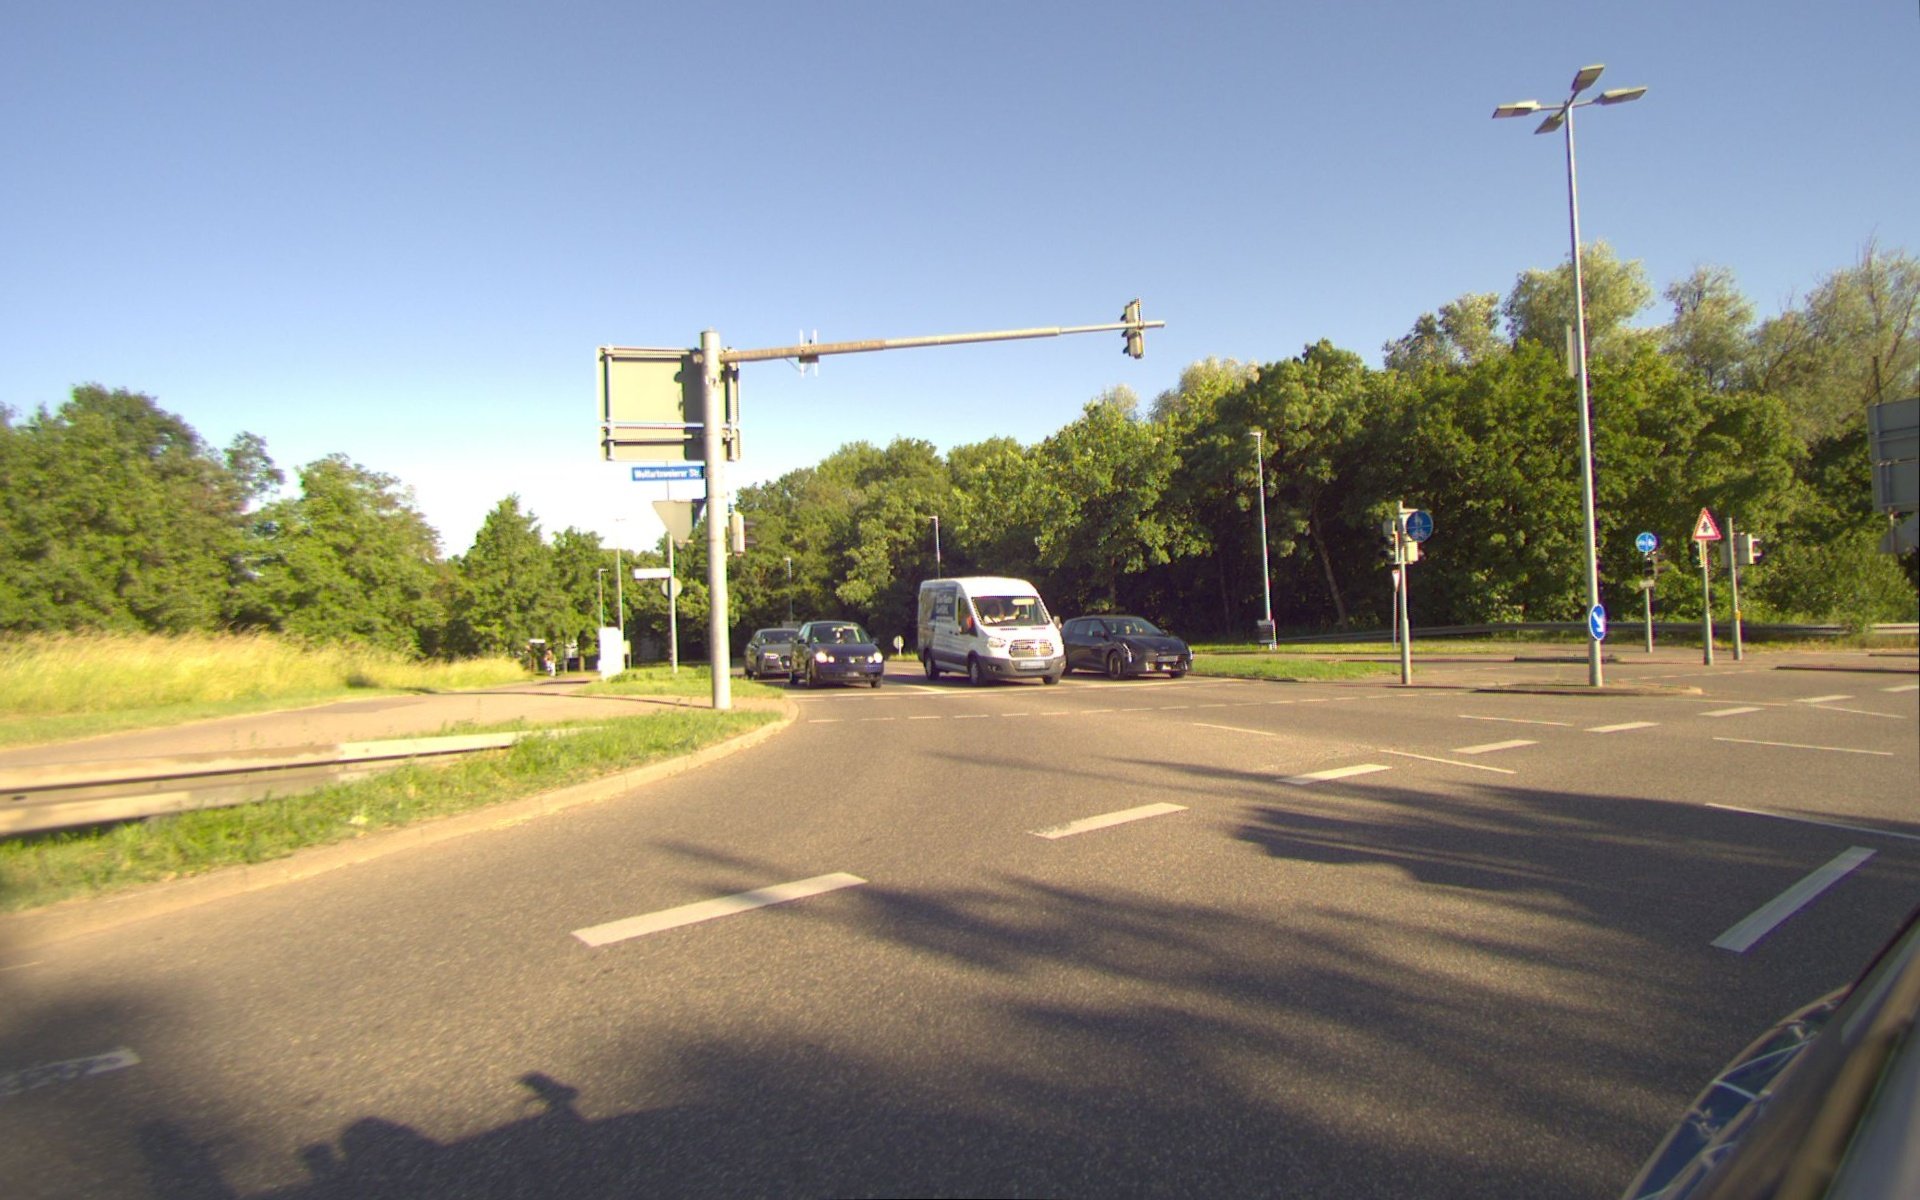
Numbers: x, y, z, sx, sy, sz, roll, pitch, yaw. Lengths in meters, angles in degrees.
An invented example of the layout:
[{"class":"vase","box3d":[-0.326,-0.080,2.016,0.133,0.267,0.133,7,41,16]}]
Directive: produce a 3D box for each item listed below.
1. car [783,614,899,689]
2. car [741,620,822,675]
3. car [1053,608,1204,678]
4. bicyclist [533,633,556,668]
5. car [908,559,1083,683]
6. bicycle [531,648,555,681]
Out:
[{"class":"car","box3d":[-2.759,1.076,22.667,1.806,1.431,3.996,-1,0,-18]},{"class":"car","box3d":[-5.187,1.310,28.997,1.613,1.408,4.298,-1,-1,-19]},{"class":"car","box3d":[3.921,0.965,24.323,1.732,1.458,4.097,-1,0,-21]},{"class":"bicyclist","box3d":[-24.338,2.947,59.327,1.168,2.040,0.878,-1,-2,-18]},{"class":"car","box3d":[0.617,0.496,23.563,2.070,2.531,5.716,0,-2,-19]},{"class":"bicycle","box3d":[-24.588,3.824,59.759,1.159,1.887,3.466,-1,-4,-20]}]
